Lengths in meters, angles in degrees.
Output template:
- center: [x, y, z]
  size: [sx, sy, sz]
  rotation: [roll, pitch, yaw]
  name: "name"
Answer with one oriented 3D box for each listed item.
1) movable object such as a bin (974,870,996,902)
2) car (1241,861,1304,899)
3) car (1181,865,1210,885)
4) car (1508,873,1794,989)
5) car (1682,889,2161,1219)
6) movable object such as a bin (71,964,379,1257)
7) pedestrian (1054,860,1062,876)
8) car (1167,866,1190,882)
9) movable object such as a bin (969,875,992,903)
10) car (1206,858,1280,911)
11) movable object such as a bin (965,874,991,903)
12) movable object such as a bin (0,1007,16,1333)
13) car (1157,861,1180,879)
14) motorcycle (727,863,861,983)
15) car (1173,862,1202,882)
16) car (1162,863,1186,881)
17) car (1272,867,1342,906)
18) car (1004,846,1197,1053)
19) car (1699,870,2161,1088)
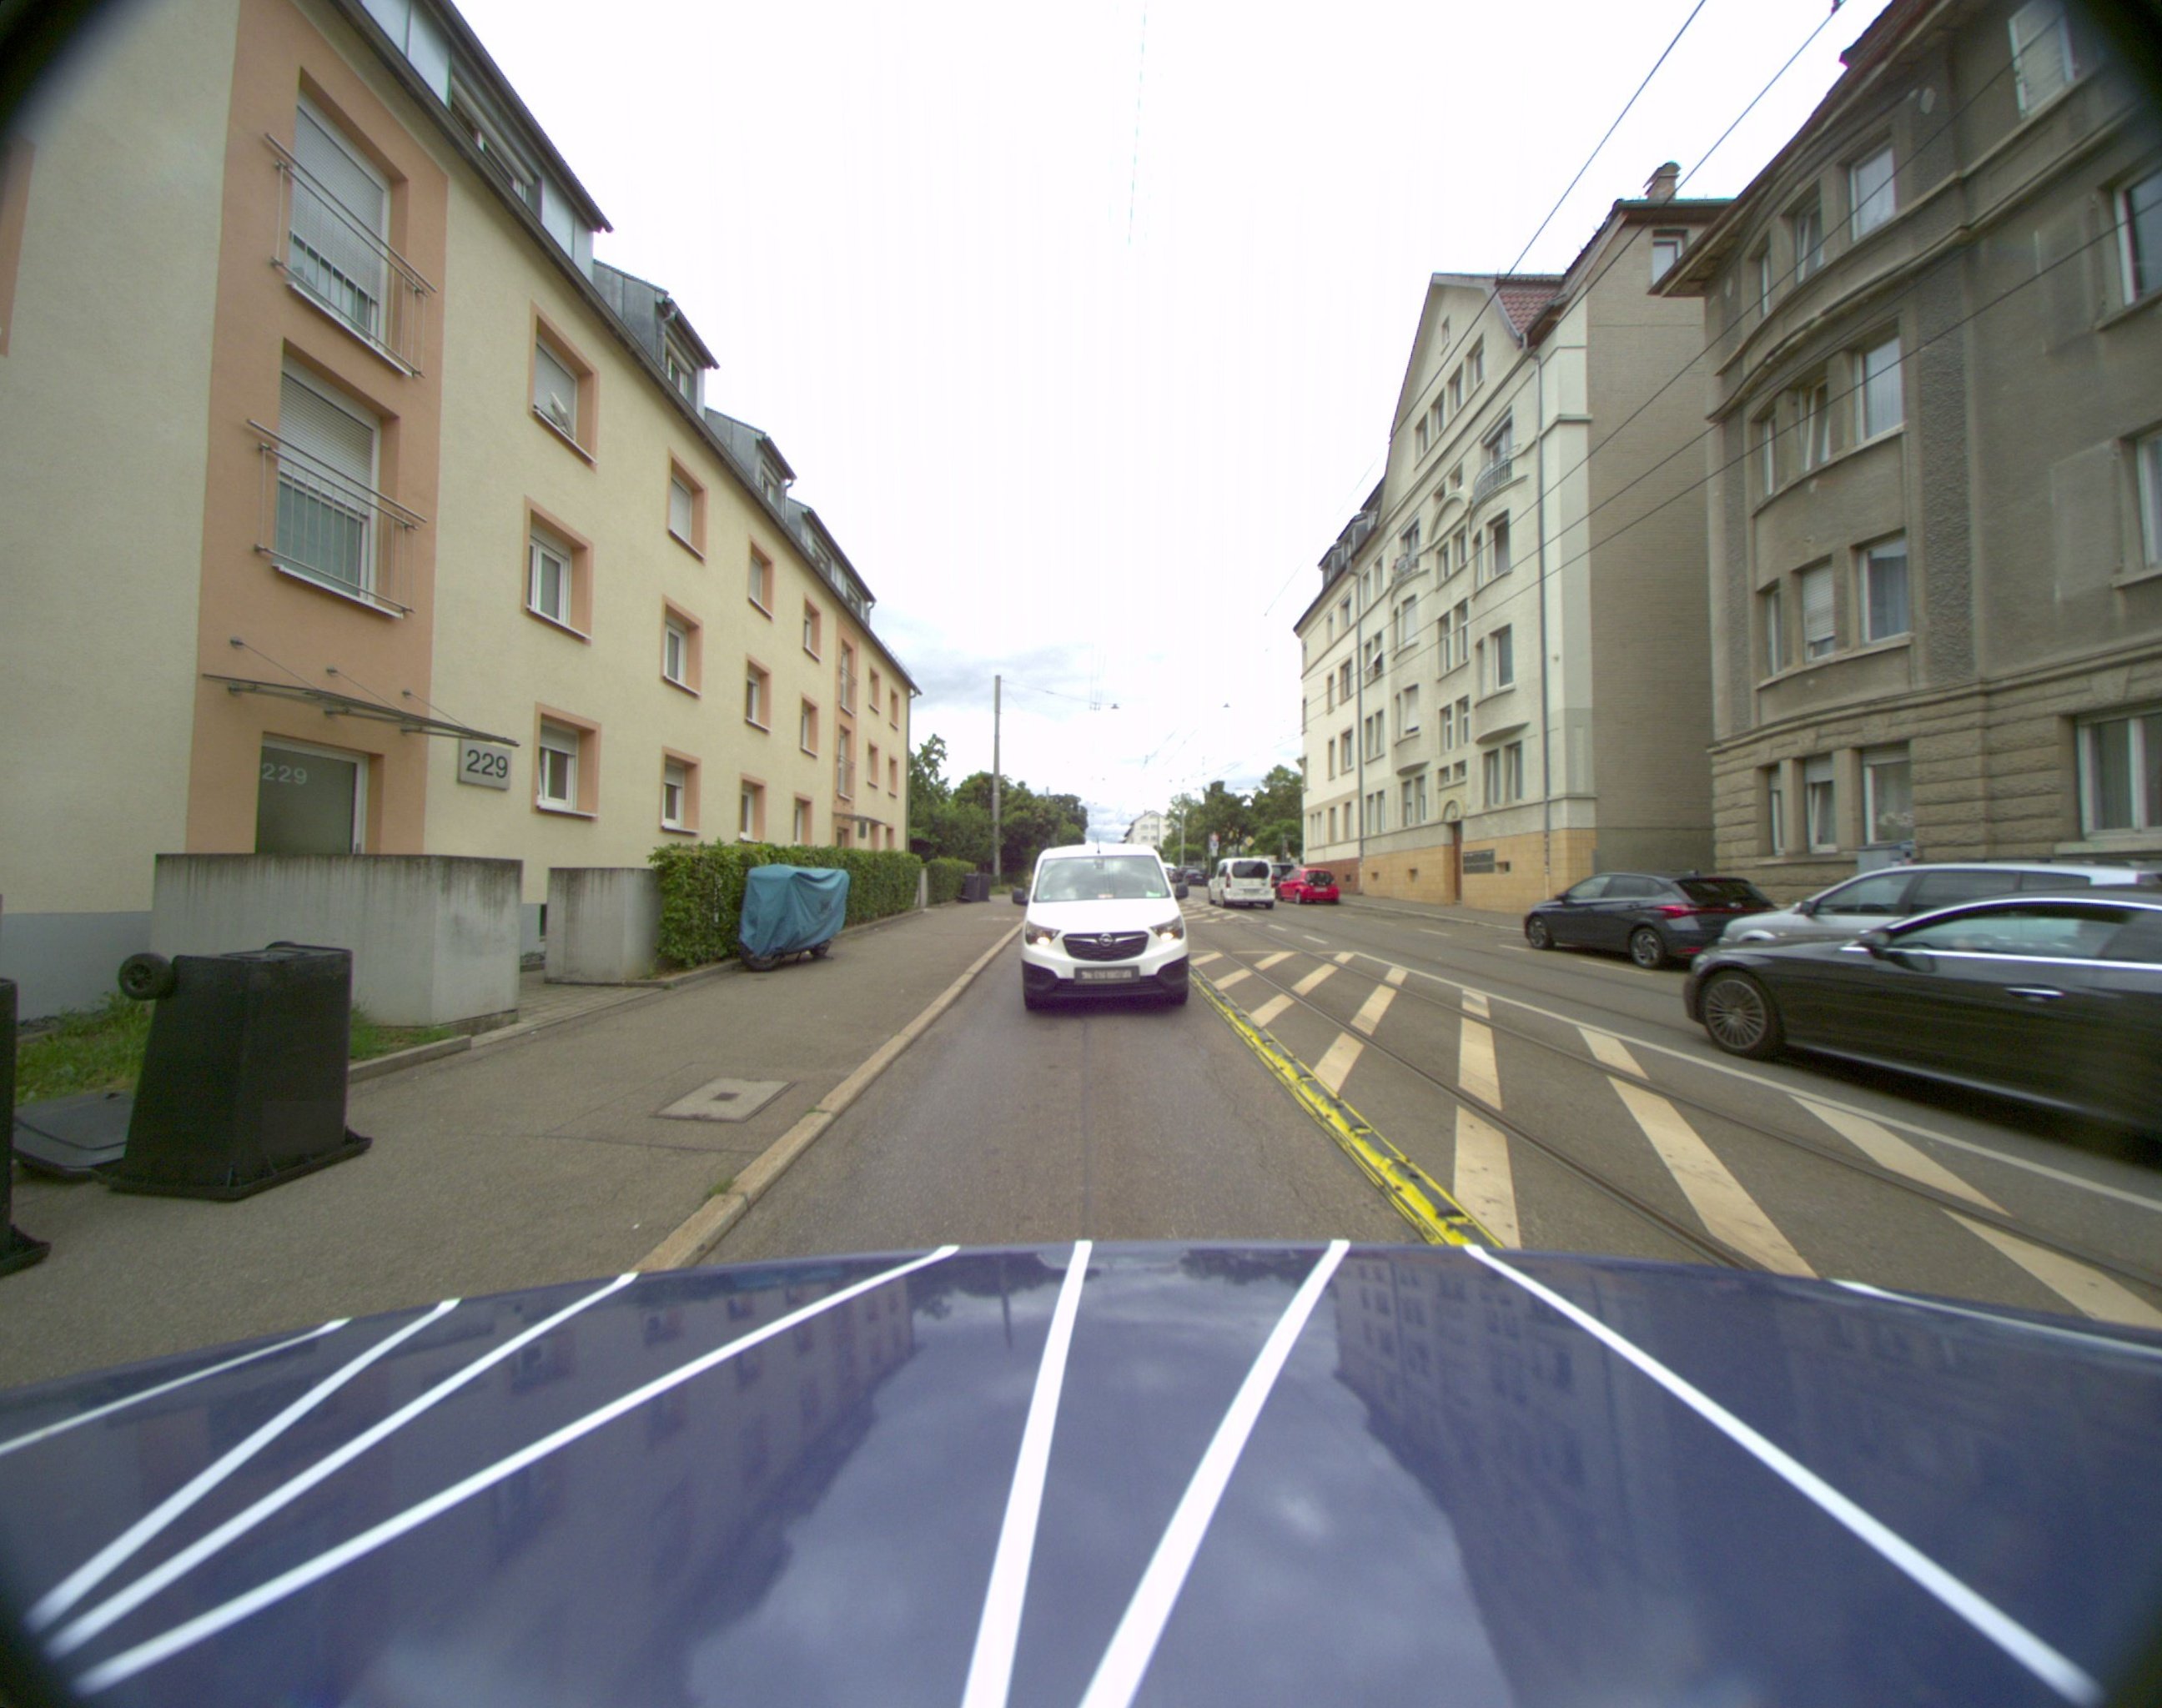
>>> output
- center: [-3.696, 1.219, 29.340]
  size: [0.794, 1.211, 0.789]
  rotation: [0, 0, -3]
  name: "movable object such as a bin"
- center: [9.170, 1.218, 36.725]
  size: [1.872, 1.636, 4.401]
  rotation: [1, 0, -1]
  name: "car"
- center: [9.334, 1.662, 62.162]
  size: [1.625, 1.469, 4.155]
  rotation: [1, 0, -1]
  name: "car"
- center: [8.997, 1.115, 12.505]
  size: [1.625, 1.454, 4.032]
  rotation: [1, 0, -1]
  name: "car"
- center: [5.973, 0.986, 4.086]
  size: [1.926, 1.416, 4.498]
  rotation: [0, 0, 0]
  name: "car"
- center: [-3.758, 1.080, 3.396]
  size: [0.590, 1.073, 0.692]
  rotation: [0, 0, 3]
  name: "movable object such as a bin"
- center: [-2.384, 1.446, 78.690]
  size: [0.716, 1.611, 0.718]
  rotation: [0, 0, 1]
  name: "pedestrian"
- center: [9.600, 1.957, 75.063]
  size: [1.743, 1.500, 3.868]
  rotation: [1, 0, -1]
  name: "car"
- center: [-3.754, 1.302, 28.498]
  size: [0.794, 1.006, 0.789]
  rotation: [0, 0, -3]
  name: "movable object such as a bin"
- center: [5.856, 1.038, 27.924]
  size: [1.925, 1.808, 4.218]
  rotation: [0, 0, 2]
  name: "car"
- center: [-3.721, 1.247, 27.550]
  size: [0.794, 1.006, 0.789]
  rotation: [0, 0, 3]
  name: "movable object such as a bin"
- center: [-3.895, 1.050, 2.292]
  size: [0.612, 1.073, 0.541]
  rotation: [0, 0, 2]
  name: "movable object such as a bin"
- center: [9.935, 1.737, 86.383]
  size: [1.974, 1.901, 4.734]
  rotation: [1, 0, -1]
  name: "car"
- center: [-3.889, 0.858, 10.576]
  size: [0.840, 1.448, 2.553]
  rotation: [0, 0, 1]
  name: "motorcycle"
- center: [9.655, 1.607, 69.056]
  size: [1.974, 1.677, 4.443]
  rotation: [1, 0, -1]
  name: "car"
- center: [9.831, 1.887, 80.706]
  size: [1.974, 1.677, 4.632]
  rotation: [1, 0, -1]
  name: "car"
- center: [9.339, 1.312, 31.704]
  size: [1.625, 1.454, 3.744]
  rotation: [1, 0, -2]
  name: "car"
- center: [0.233, 0.879, 9.020]
  size: [1.730, 1.850, 4.421]
  rotation: [0, -1, 1]
  name: "car"
- center: [8.913, 0.992, 7.749]
  size: [1.625, 1.595, 4.351]
  rotation: [1, -1, -1]
  name: "car"
